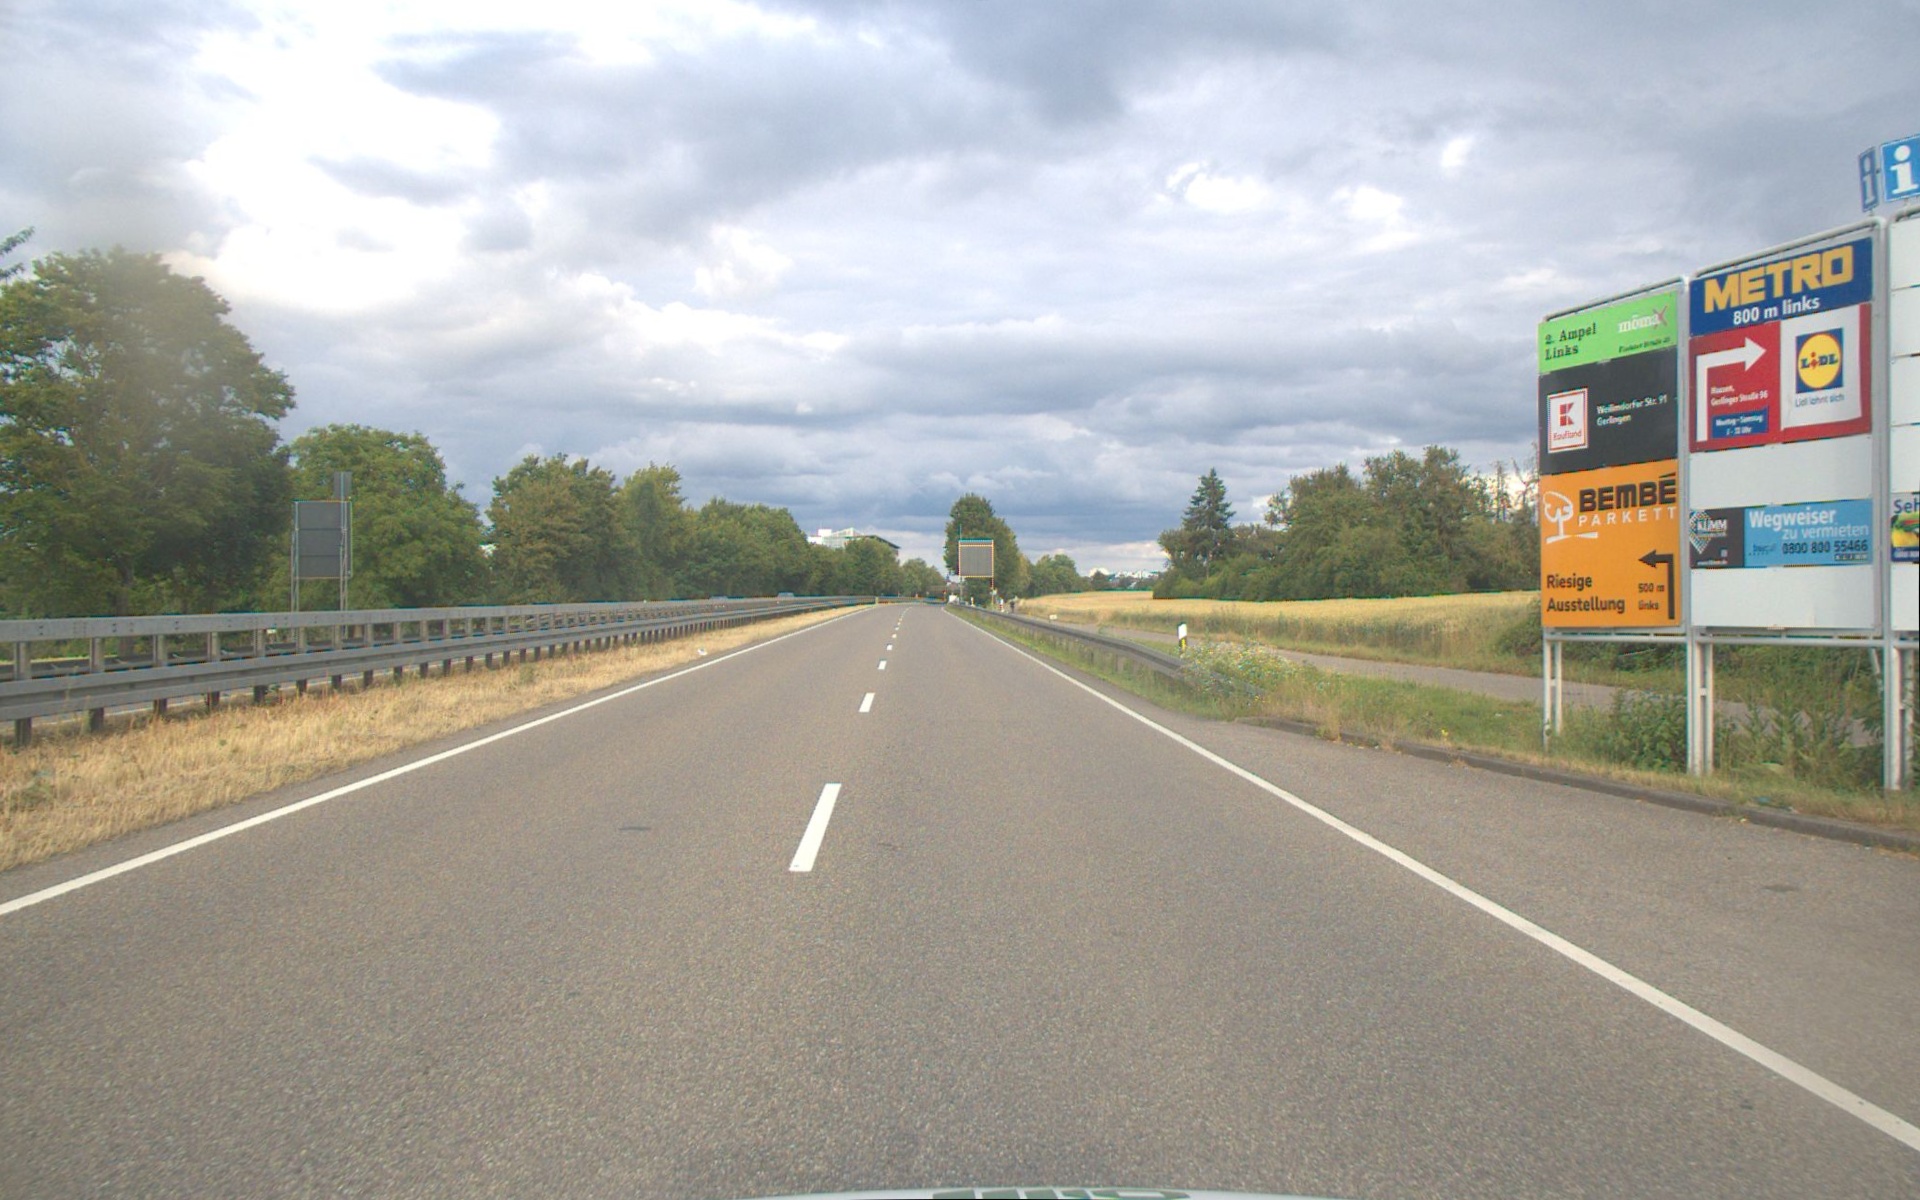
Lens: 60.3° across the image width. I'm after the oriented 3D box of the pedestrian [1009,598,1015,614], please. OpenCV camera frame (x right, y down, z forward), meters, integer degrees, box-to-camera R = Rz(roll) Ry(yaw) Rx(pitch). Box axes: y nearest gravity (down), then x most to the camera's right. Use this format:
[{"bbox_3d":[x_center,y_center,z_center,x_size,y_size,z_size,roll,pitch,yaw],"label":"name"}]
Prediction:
[{"bbox_3d":[5.816,0.657,185.275,0.589,1.695,0.542,1,0,-4],"label":"pedestrian"}]
